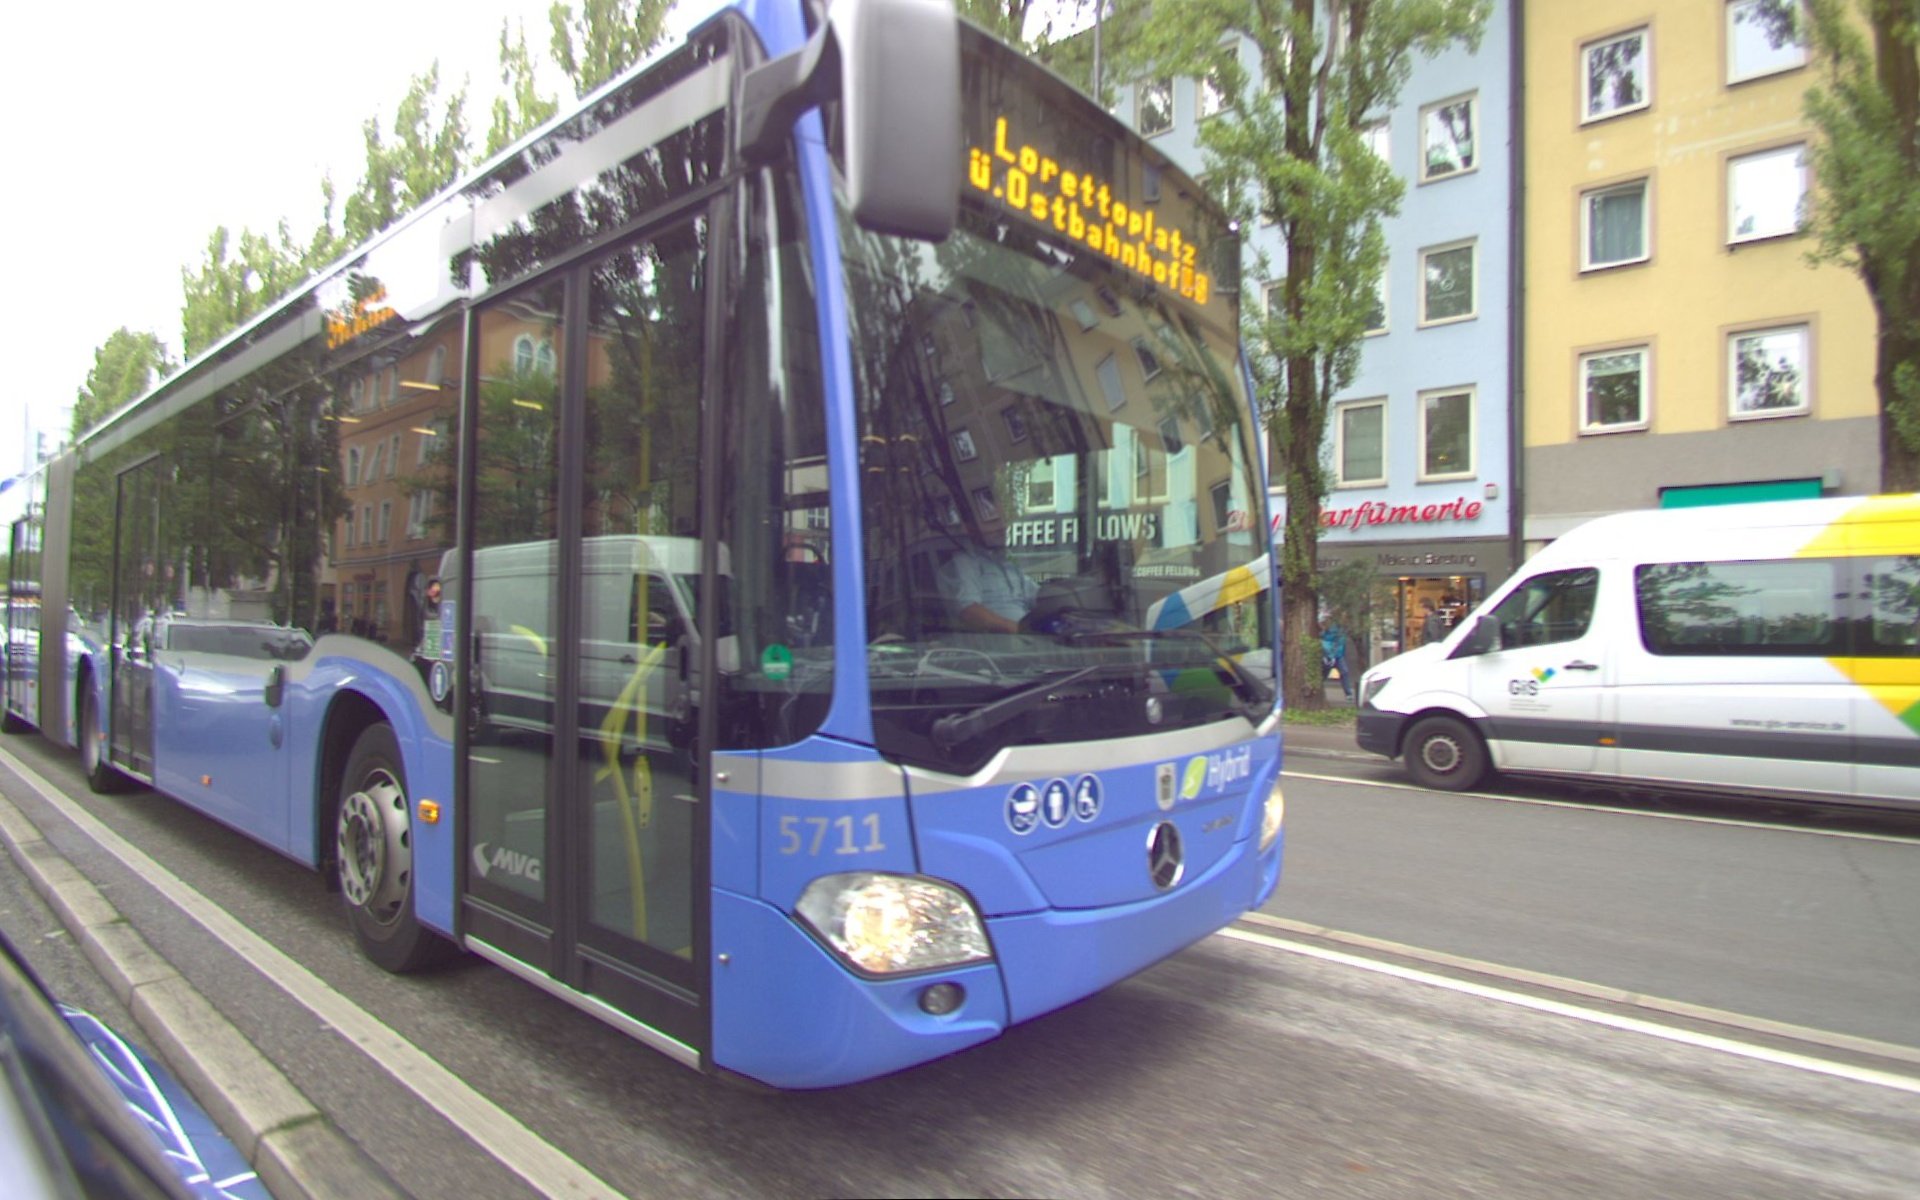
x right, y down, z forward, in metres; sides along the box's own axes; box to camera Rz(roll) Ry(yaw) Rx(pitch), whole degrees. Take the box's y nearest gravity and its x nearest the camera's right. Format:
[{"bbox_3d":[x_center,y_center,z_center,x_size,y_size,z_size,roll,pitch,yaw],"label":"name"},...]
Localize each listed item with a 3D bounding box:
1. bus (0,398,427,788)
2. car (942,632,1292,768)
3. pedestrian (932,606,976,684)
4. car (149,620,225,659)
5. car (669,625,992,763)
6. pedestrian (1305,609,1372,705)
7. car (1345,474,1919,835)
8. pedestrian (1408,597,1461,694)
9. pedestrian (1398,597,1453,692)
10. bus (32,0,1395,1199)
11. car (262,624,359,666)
[{"bbox_3d":[-9.792,0.035,12.018,10.047,2.972,2.655,-1,-2,41],"label":"bus"},{"bbox_3d":[1.891,1.160,12.924,4.146,1.430,1.719,-1,-4,41],"label":"car"},{"bbox_3d":[-0.158,1.146,25.818,0.905,1.941,0.690,-1,-3,44],"label":"pedestrian"},{"bbox_3d":[-33.903,1.727,44.340,4.572,1.625,1.778,-1,-3,42],"label":"car"},{"bbox_3d":[-1.737,1.062,12.739,4.127,1.445,1.727,-1,-3,41],"label":"car"},{"bbox_3d":[6.744,0.994,18.036,0.949,1.659,0.691,-1,-2,40],"label":"pedestrian"},{"bbox_3d":[7.038,0.443,8.455,6.908,2.587,1.984,-1,-4,41],"label":"car"},{"bbox_3d":[9.149,0.867,19.508,0.689,1.808,0.727,2,-3,-44],"label":"pedestrian"},{"bbox_3d":[8.643,0.823,18.785,0.689,1.713,0.727,2,-3,-44],"label":"pedestrian"},{"bbox_3d":[-3.013,-0.085,6.114,10.047,2.972,2.661,-1,-2,41],"label":"bus"},{"bbox_3d":[-23.405,1.604,36.435,3.780,1.433,1.739,-1,-3,38],"label":"car"}]
